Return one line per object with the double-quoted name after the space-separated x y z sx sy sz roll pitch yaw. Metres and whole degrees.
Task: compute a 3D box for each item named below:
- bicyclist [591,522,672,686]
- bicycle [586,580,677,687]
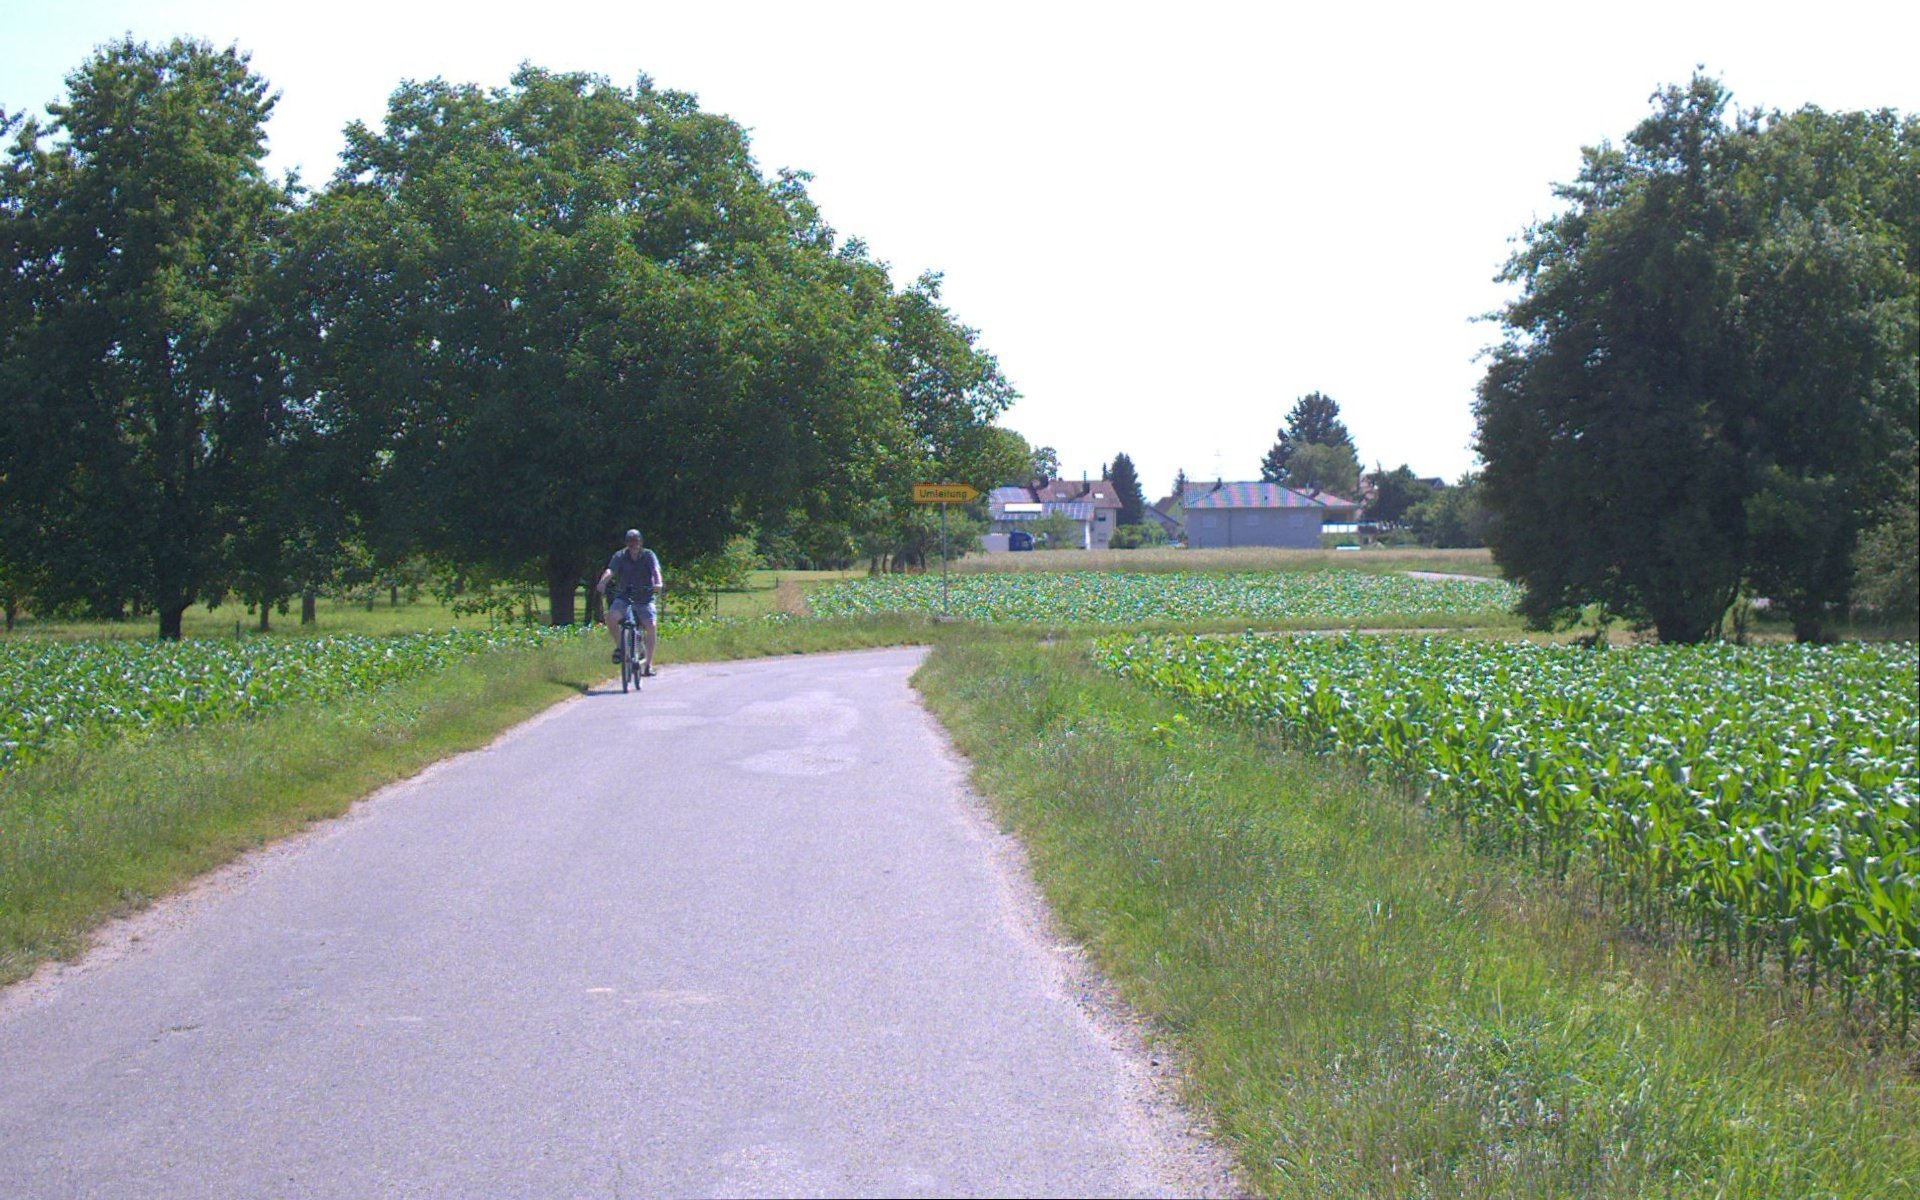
-3.663 0.042 38.390 0.750 1.785 0.717 -2 1 2 "bicyclist"
-3.656 0.363 38.389 0.750 1.123 1.908 -2 1 2 "bicycle"
